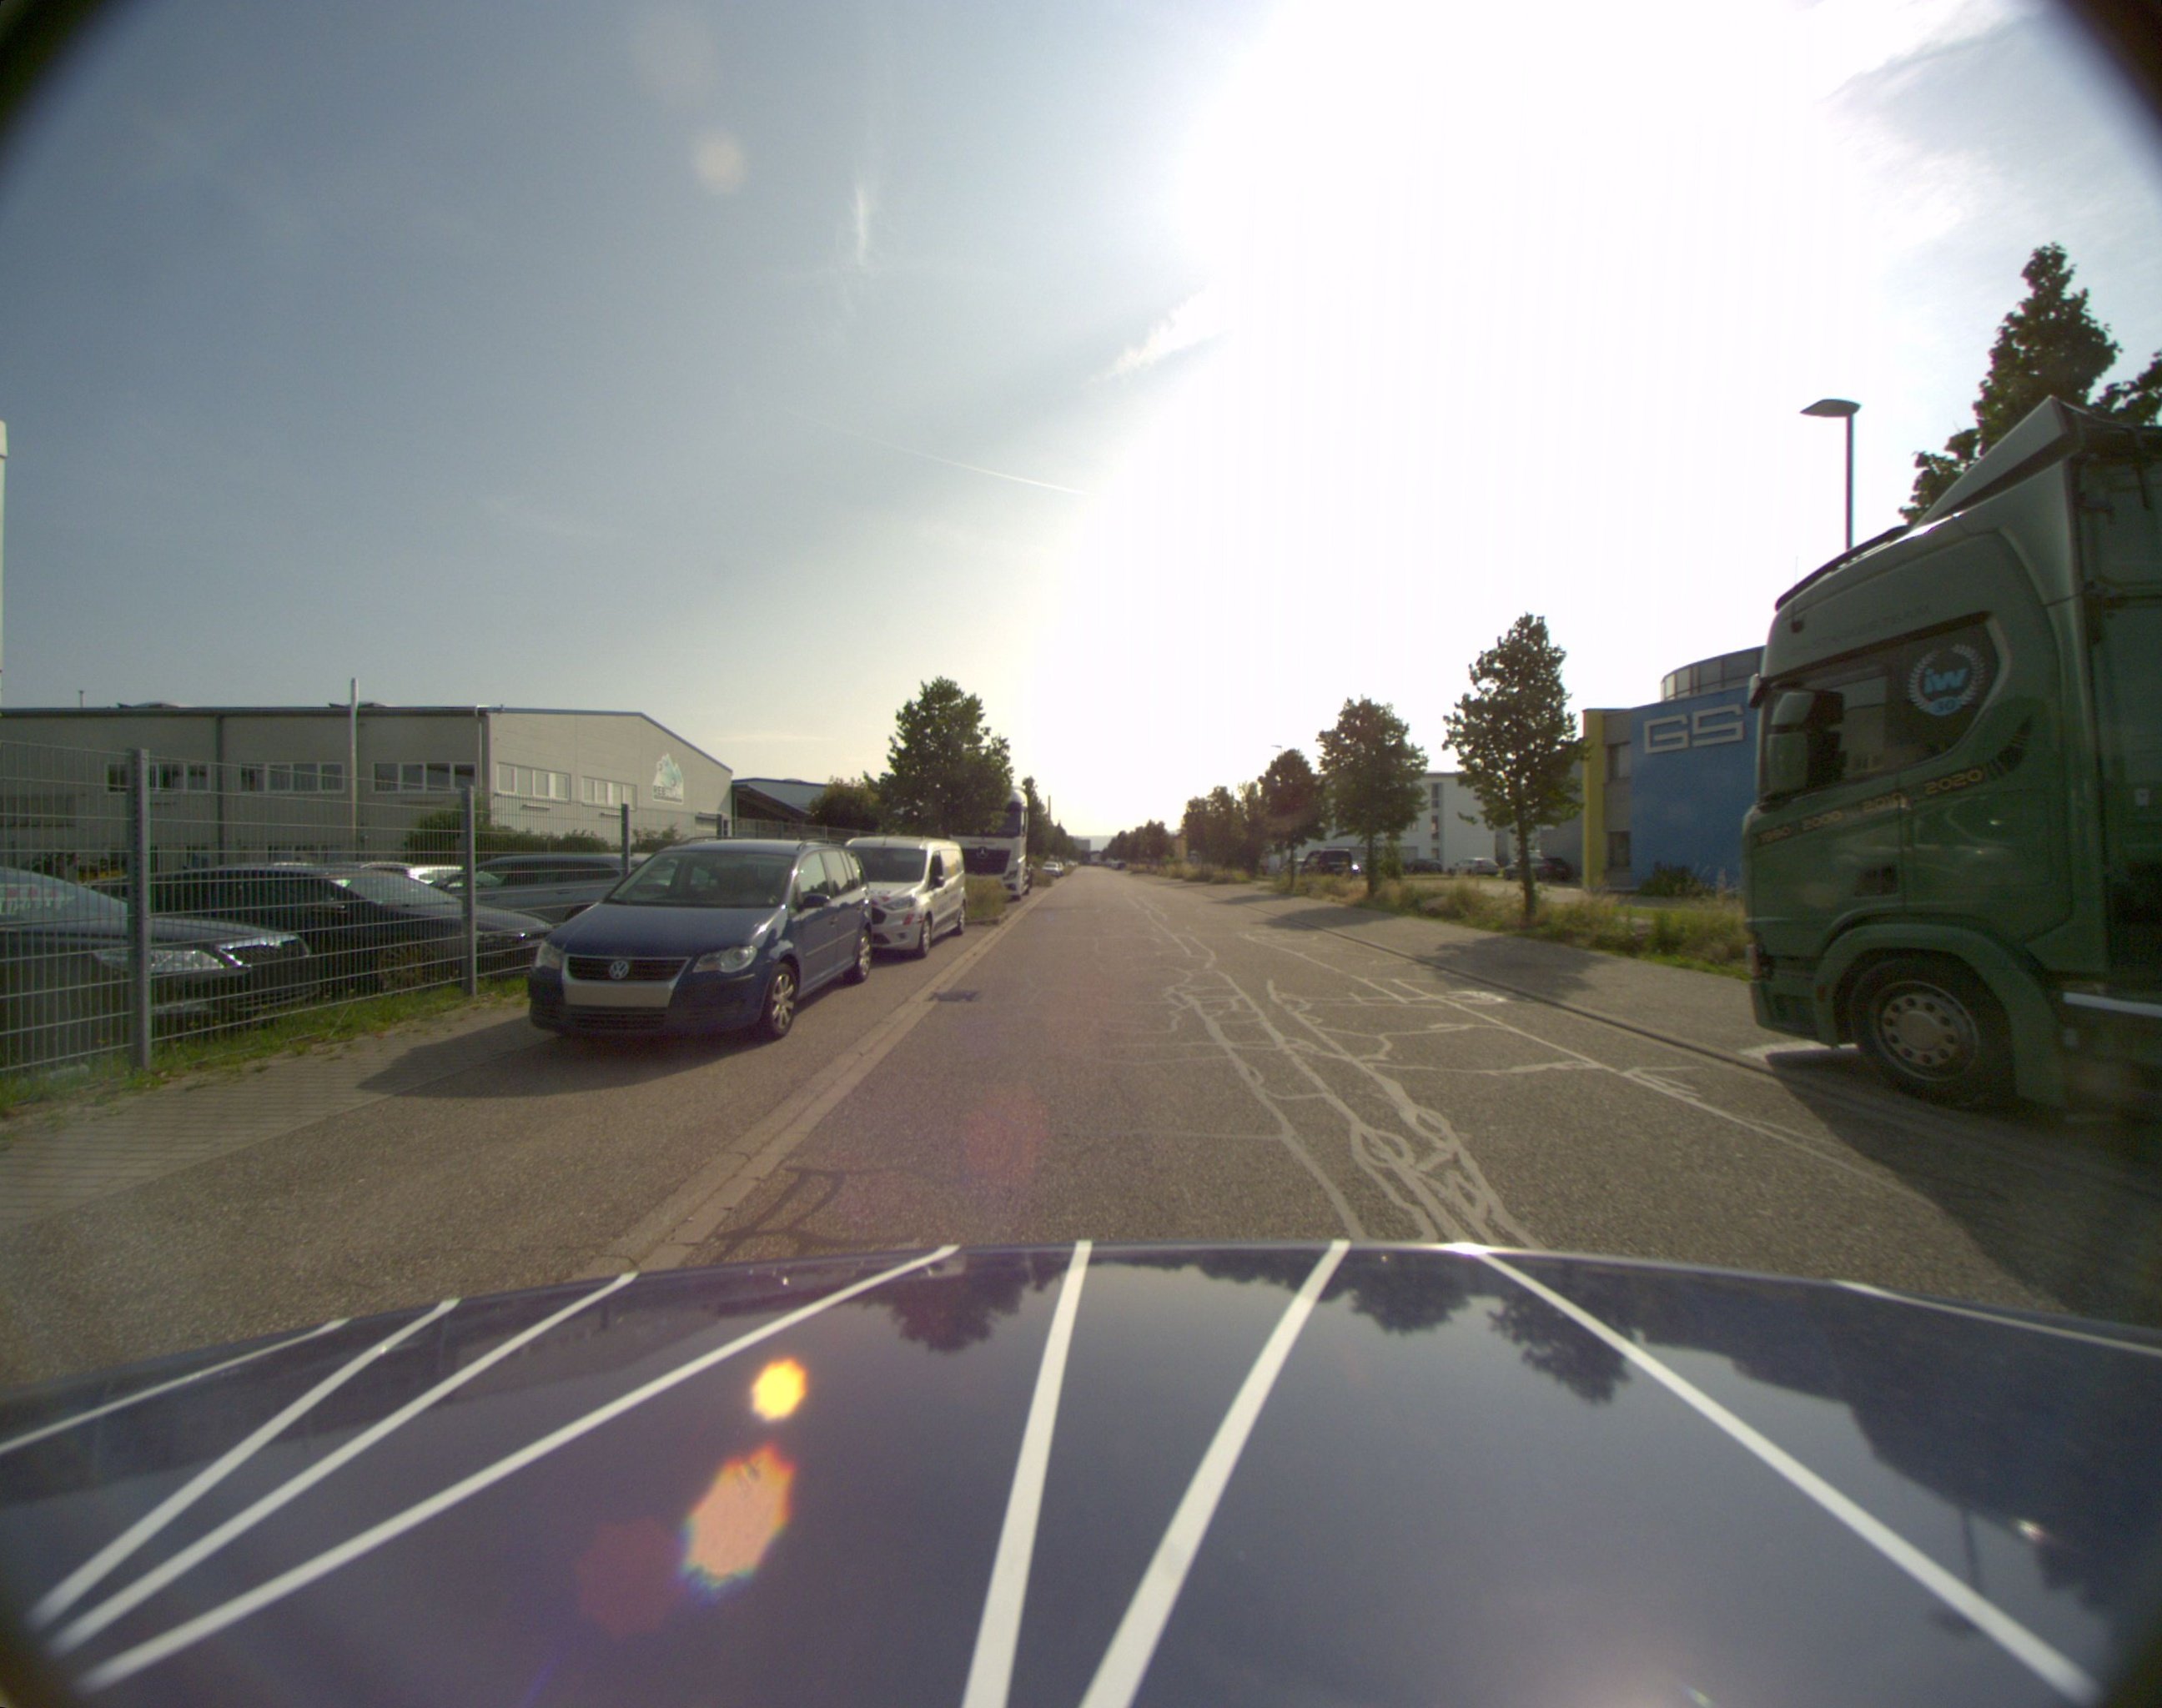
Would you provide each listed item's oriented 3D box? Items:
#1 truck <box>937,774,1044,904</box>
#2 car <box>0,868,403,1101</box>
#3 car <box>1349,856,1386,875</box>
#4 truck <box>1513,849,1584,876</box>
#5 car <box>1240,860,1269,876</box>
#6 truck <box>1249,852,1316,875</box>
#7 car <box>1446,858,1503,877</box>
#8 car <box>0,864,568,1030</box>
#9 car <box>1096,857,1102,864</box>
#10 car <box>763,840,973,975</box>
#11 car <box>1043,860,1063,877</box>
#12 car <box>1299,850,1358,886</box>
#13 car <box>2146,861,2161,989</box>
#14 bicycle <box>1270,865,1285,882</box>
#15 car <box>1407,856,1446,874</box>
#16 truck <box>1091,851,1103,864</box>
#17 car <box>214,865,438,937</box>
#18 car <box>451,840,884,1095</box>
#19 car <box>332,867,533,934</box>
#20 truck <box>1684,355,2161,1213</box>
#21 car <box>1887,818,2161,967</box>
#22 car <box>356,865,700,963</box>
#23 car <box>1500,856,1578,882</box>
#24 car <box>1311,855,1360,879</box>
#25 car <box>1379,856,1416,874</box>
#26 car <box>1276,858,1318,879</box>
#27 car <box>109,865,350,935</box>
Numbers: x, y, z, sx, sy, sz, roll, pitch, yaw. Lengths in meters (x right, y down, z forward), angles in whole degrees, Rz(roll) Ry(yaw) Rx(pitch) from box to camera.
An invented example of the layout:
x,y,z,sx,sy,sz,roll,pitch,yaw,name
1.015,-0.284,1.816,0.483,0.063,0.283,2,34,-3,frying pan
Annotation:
x,y,z,sx,sy,sz,roll,pitch,yaw,name
-3.061,-0.425,28.557,2.753,3.991,9.686,2,0,0,truck
-8.156,0.868,5.753,4.236,1.486,1.899,0,-1,-3,car
25.158,0.964,66.893,1.910,1.609,3.919,-1,0,2,car
34.261,0.585,55.887,1.999,1.892,4.952,-1,0,-2,truck
15.345,1.217,67.217,1.759,1.401,3.919,-1,0,2,car
28.205,1.342,106.515,8.825,2.817,2.518,2,0,15,truck
28.465,0.952,55.138,1.737,1.364,4.381,0,0,-3,car
-8.215,0.874,8.036,4.236,1.486,1.899,0,-1,-3,car
4.724,1.711,200.696,1.668,1.495,3.540,-1,1,0,car
-3.159,0.686,12.400,1.998,1.779,4.599,-1,1,2,car
-2.610,1.356,70.673,1.668,1.495,3.541,2,0,0,car
14.400,0.818,44.541,1.886,2.001,4.991,0,-1,0,car
14.389,0.760,7.633,4.739,1.422,2.000,-1,0,-2,car
11.730,1.132,45.314,0.541,0.973,1.871,-1,0,4,bicycle
30.150,0.943,66.424,1.759,1.459,3.919,-1,0,2,car
5.271,1.062,250.861,3.413,4.017,10.395,-2,0,0,truck
-20.080,1.161,20.534,1.894,1.681,4.369,-1,0,-5,car
-3.353,0.753,7.295,1.830,1.710,4.248,-1,1,-1,car
-17.175,1.154,20.474,1.894,1.547,4.369,-1,-1,-5,car
6.035,-0.316,1.252,2.461,3.859,9.803,-2,0,2,truck
14.438,0.468,10.321,4.716,1.825,2.103,0,0,1,car
-8.429,0.880,11.913,3.998,1.363,1.790,0,0,-4,car
26.921,0.847,44.827,1.719,1.452,4.782,-1,-1,0,car
18.161,0.916,54.397,1.947,1.597,4.509,-1,0,0,car
27.773,0.951,66.777,1.759,1.459,3.919,-1,0,2,car
15.601,1.015,55.039,1.790,1.441,3.918,-1,0,-1,car
-23.035,1.153,20.876,1.894,1.681,4.369,-1,0,-5,car
